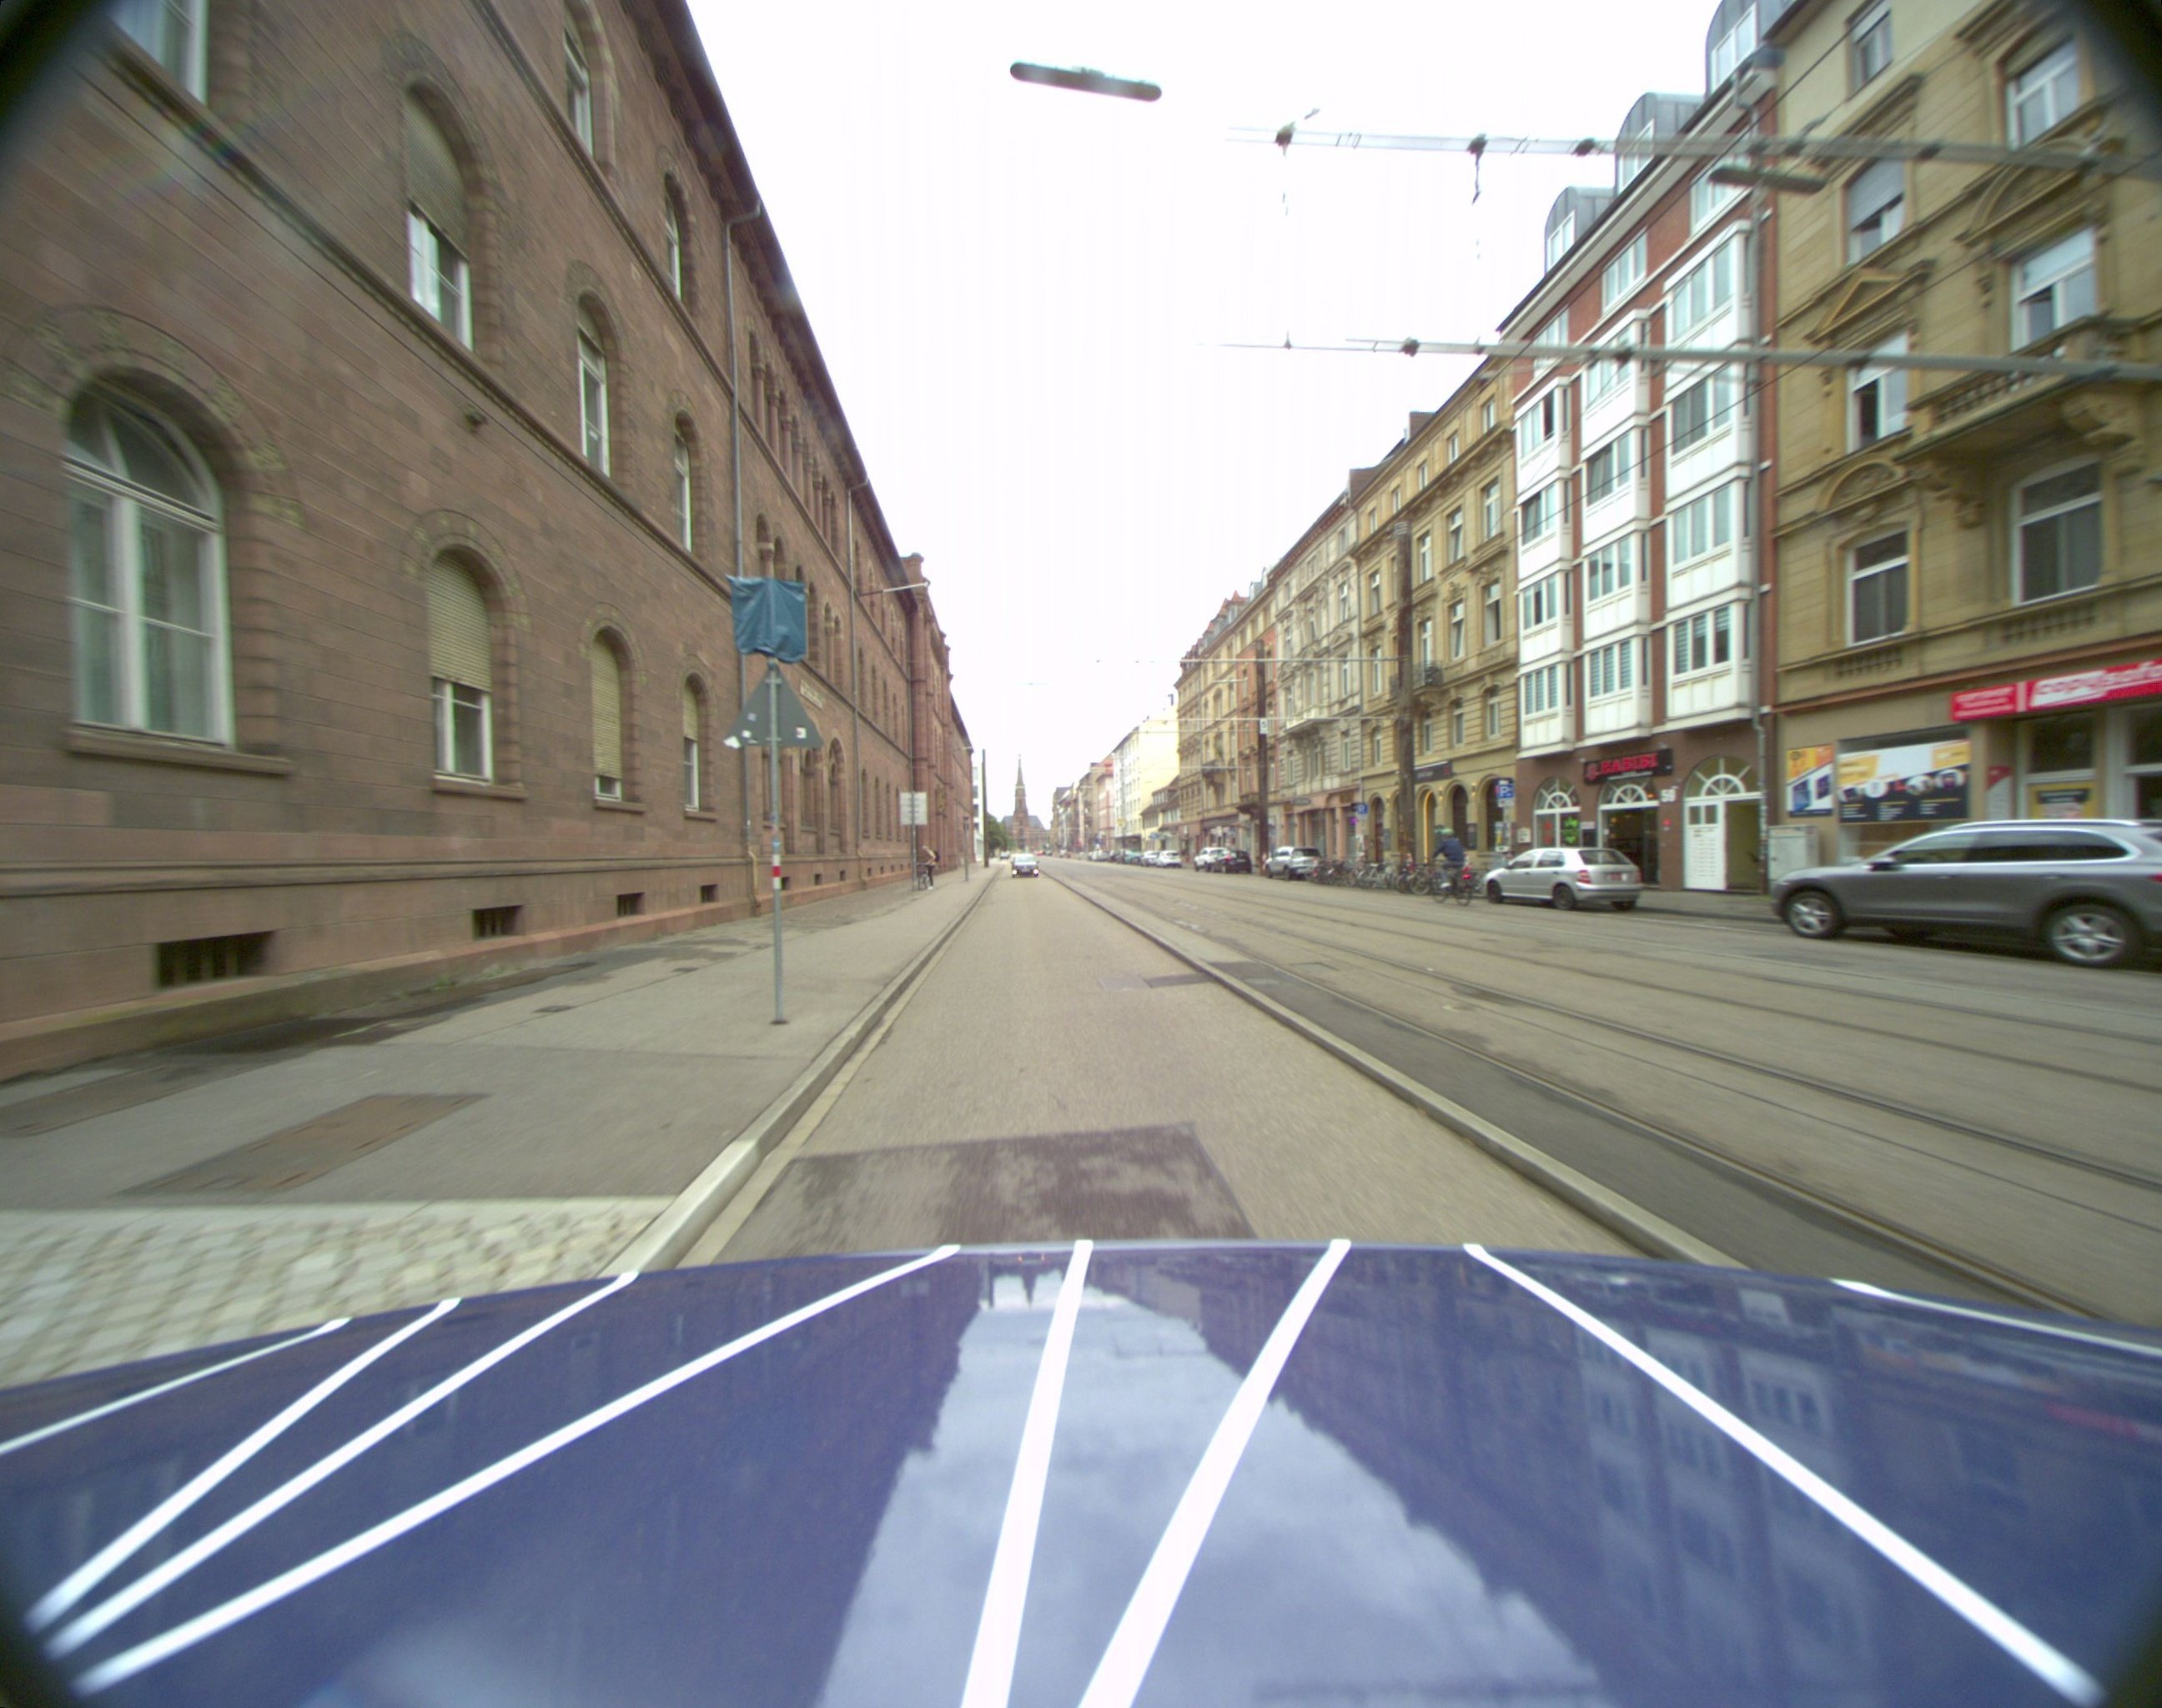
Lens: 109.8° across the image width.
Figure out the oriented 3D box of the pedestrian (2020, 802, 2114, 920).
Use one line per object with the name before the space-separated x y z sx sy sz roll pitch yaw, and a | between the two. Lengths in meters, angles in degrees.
pedestrian | 15.380 0.096 11.874 0.653 1.772 0.787 -1 2 32

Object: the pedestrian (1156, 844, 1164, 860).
pedestrian | 8.539 -0.208 81.898 0.657 1.702 0.753 -3 1 -5

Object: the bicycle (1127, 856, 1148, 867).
bicycle | 5.765 0.771 77.031 2.045 1.091 0.556 -2 1 -4

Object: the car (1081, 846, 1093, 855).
car | 1.094 -0.629 140.933 1.868 1.553 3.998 0 1 -5

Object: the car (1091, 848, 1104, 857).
car | 2.702 -0.308 123.745 1.733 1.336 3.244 -2 1 -5

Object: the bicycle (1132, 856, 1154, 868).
bicycle | 6.182 0.793 75.827 2.140 1.091 0.556 -2 1 -4

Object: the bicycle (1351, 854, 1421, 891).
bicycle | 11.046 0.659 27.531 2.289 1.322 0.666 0 1 -5

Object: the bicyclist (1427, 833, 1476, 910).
bicyclist | 9.305 0.419 19.105 0.647 1.872 1.028 -2 1 -3

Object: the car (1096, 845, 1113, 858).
car | 3.435 -0.368 110.616 1.929 1.722 3.824 -2 1 -5

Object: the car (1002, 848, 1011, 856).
car | -17.627 -0.496 179.578 1.836 1.652 3.997 -2 1 -5

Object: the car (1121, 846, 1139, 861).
car | 5.731 -0.090 89.554 1.707 1.747 3.918 0 1 -3

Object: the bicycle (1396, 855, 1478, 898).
bicycle | 11.174 0.695 23.879 2.289 1.322 0.666 0 1 -5

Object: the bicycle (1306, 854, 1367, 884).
bicycle | 10.585 0.631 31.545 2.289 1.196 0.704 0 1 -5

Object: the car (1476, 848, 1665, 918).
car | 11.529 0.602 18.257 1.749 1.480 3.918 0 0 -6

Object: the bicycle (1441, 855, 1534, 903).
bicycle | 11.361 0.694 21.255 2.289 1.322 0.666 0 1 -5

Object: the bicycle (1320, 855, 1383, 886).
bicycle | 10.759 0.663 30.258 2.289 1.196 0.704 0 1 -5

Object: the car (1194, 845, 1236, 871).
car | 8.943 0.262 51.047 1.749 1.663 4.043 0 0 -5

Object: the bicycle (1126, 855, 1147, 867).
bicycle | 5.685 0.707 78.281 2.045 1.091 0.556 -2 1 -4

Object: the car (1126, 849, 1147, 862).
car | 6.216 0.144 85.022 1.652 1.373 3.433 0 0 -8

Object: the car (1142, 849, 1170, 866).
car | 6.874 0.297 70.164 1.829 1.512 4.543 0 0 -5

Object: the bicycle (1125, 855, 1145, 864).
bicycle | 5.673 0.589 80.093 2.045 0.928 0.556 -2 1 -3

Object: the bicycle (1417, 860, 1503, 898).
bicycle | 11.230 0.738 22.528 2.289 1.035 0.619 -2 1 -5

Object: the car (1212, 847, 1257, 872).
car | 9.345 0.327 46.515 1.749 1.480 3.918 0 0 -4

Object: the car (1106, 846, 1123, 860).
car | 4.417 -0.147 99.490 1.705 1.662 4.179 -2 1 -4

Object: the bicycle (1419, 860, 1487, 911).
bicycle | 9.324 0.754 19.130 0.586 1.167 2.044 0 1 -3

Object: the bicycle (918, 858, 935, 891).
bicycle | -6.314 0.801 31.197 0.446 1.269 2.225 0 1 -5

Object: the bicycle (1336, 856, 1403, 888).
bicycle | 10.933 0.686 28.779 2.289 1.196 0.666 0 1 -5

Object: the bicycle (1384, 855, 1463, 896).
bicycle | 11.115 0.695 24.705 2.289 1.322 0.666 0 1 -5

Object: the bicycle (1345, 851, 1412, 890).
bicycle | 11.008 0.591 28.116 2.288 1.287 0.448 -3 1 -4

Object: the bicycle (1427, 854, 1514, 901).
bicycle | 11.253 0.684 21.970 2.289 1.322 0.521 0 1 -5

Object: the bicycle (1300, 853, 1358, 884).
bicycle | 10.506 0.612 32.226 2.289 1.196 0.547 -2 1 -5

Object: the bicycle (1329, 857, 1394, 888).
bicycle | 10.869 0.718 29.491 2.289 1.196 0.666 0 1 -5

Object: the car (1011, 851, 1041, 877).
car | -3.560 0.603 48.905 1.748 1.538 3.648 -2 1 -6

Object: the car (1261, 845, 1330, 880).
car | 10.177 0.373 36.345 1.749 1.524 4.223 0 0 -5

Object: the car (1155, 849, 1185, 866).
car | 7.674 0.266 65.544 1.749 1.456 4.043 0 0 -5

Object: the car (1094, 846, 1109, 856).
car | 3.132 -0.443 117.403 1.733 1.443 3.824 -2 1 -5

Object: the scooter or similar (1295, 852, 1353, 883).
scooter or similar | 10.506 0.573 32.862 2.289 1.196 0.547 -3 1 -4

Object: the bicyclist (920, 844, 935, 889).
bicyclist | -6.324 0.509 31.369 0.530 1.847 0.450 -1 1 -5

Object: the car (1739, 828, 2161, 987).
car | 12.087 0.551 10.151 1.819 1.680 5.027 0 0 -8

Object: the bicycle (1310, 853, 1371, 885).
bicycle | 10.621 0.604 31.095 2.289 1.197 0.540 -3 3 -4

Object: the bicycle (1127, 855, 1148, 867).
bicycle | 5.724 0.742 77.655 2.045 1.091 0.556 -2 1 -4
